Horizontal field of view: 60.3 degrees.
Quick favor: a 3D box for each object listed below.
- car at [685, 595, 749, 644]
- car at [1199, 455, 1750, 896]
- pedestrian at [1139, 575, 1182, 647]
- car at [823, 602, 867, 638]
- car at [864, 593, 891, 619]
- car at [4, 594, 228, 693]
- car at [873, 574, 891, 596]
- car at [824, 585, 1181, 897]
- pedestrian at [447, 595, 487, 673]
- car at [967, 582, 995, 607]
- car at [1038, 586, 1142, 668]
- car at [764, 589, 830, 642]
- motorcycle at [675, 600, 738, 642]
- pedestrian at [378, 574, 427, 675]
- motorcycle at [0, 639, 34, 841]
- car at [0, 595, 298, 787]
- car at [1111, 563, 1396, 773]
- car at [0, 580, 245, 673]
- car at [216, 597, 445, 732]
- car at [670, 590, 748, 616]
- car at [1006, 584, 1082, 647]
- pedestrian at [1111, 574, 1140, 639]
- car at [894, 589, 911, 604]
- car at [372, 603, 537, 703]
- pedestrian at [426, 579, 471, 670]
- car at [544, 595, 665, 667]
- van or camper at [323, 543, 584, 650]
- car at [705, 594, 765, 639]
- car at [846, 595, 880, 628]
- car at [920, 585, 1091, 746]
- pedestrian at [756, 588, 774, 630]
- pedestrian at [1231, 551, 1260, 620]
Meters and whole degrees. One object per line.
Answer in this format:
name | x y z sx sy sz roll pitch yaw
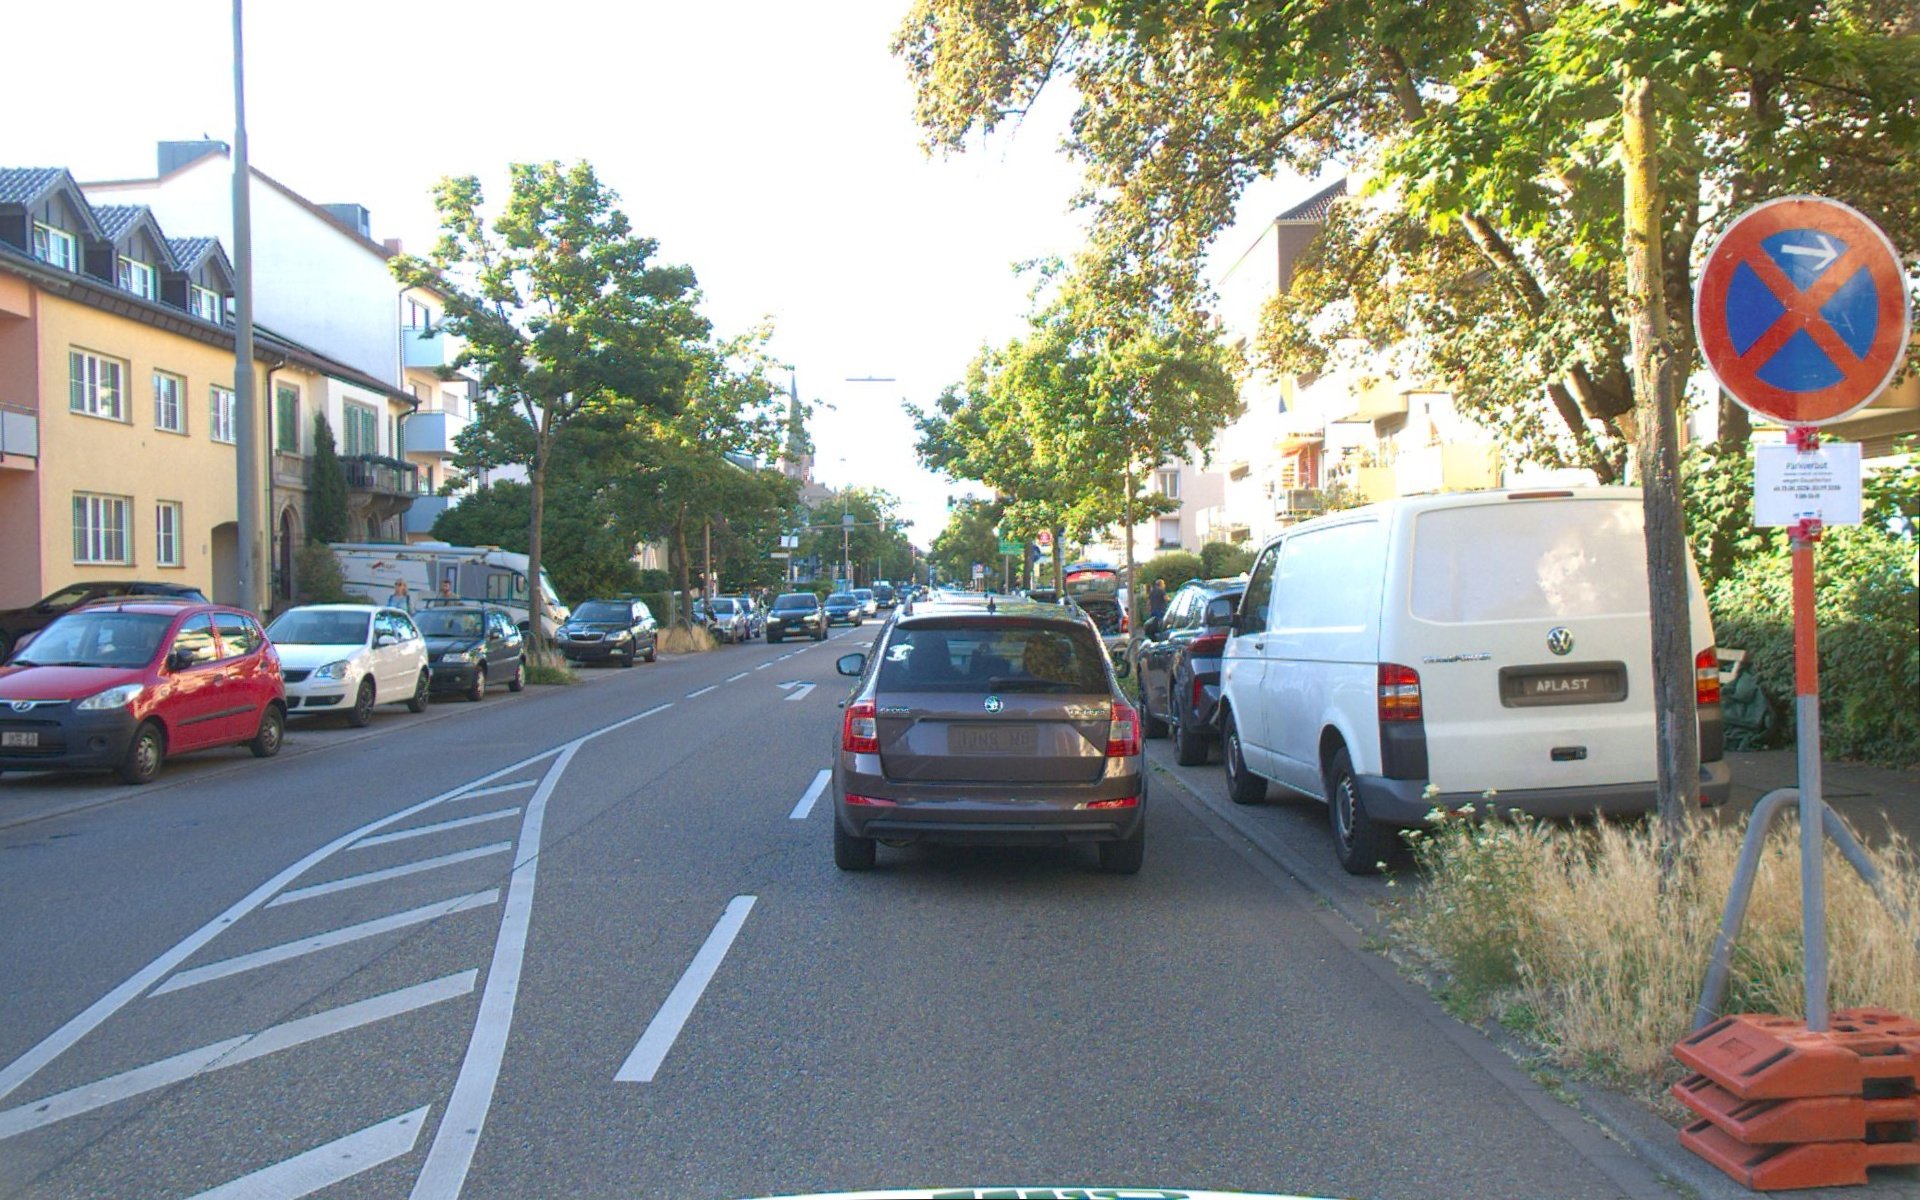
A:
car | -8.022 0.620 54.914 1.561 1.496 3.803 1 0 -1
car | 2.878 0.353 10.468 1.865 2.140 4.639 -1 0 -2
pedestrian | 4.716 0.262 38.936 0.742 1.668 0.693 -1 0 36
car | -5.351 0.907 77.585 1.725 1.477 4.533 -3 0 -1
car | -6.745 0.452 135.161 1.953 1.942 4.963 -3 0 -1
car | -13.555 0.651 26.822 1.630 1.433 3.753 -2 0 1
car | -9.124 -1.788 194.022 1.953 2.521 3.999 -1 0 -1
car | 0.170 0.676 10.227 1.737 1.515 4.310 0 0 -1
pedestrian | -9.767 0.662 32.776 0.577 1.522 0.542 -1 0 2
car | 1.536 -0.404 121.695 1.952 1.803 4.001 1 0 2
car | 2.624 0.515 34.272 1.673 1.506 4.267 -3 0 -1
car | -5.401 0.495 55.200 1.798 1.597 3.999 -3 0 -1
motorcycle | -7.856 0.655 51.207 2.015 1.287 0.764 -1 0 38
pedestrian | -10.267 0.451 30.468 0.699 1.824 0.506 -1 0 2
motorcycle | -7.218 0.955 11.461 1.164 1.288 2.352 -1 0 -24
car | -7.642 0.744 15.266 1.560 1.550 3.437 -1 0 2
car | 2.643 0.551 15.925 1.818 1.631 4.310 -3 0 -1
car | -16.192 0.484 31.957 3.905 1.664 1.866 1 0 0
car | -8.017 0.753 21.423 1.561 1.550 3.889 -1 0 -2
car | -15.387 0.160 101.552 4.540 1.562 1.861 0 0 -1
car | 2.316 0.398 46.679 1.818 1.609 4.012 -3 0 -1
pedestrian | 4.624 0.168 46.293 0.649 1.779 0.772 -2 0 0
car | -6.601 -0.417 189.164 1.793 1.607 4.000 -1 0 -1
car | -7.910 0.784 26.194 1.511 1.421 3.665 -1 0 -1
pedestrian | -10.425 0.496 33.735 0.699 1.824 0.572 -1 0 2
car | -8.077 0.668 37.966 1.829 1.520 4.517 1 0 0
van or camper | -14.362 -0.098 47.205 6.660 2.821 2.351 1 0 -2
car | -8.068 0.571 59.542 1.615 1.544 4.073 0 0 -1
car | -5.769 0.658 98.819 1.769 1.836 4.745 -3 0 -1
car | 0.465 0.650 18.678 1.701 1.598 4.000 1 0 0
pedestrian | -9.478 0.441 80.484 0.764 2.022 0.821 -1 0 0
pedestrian | 7.008 -0.349 40.603 0.467 1.668 0.533 -1 0 -20
